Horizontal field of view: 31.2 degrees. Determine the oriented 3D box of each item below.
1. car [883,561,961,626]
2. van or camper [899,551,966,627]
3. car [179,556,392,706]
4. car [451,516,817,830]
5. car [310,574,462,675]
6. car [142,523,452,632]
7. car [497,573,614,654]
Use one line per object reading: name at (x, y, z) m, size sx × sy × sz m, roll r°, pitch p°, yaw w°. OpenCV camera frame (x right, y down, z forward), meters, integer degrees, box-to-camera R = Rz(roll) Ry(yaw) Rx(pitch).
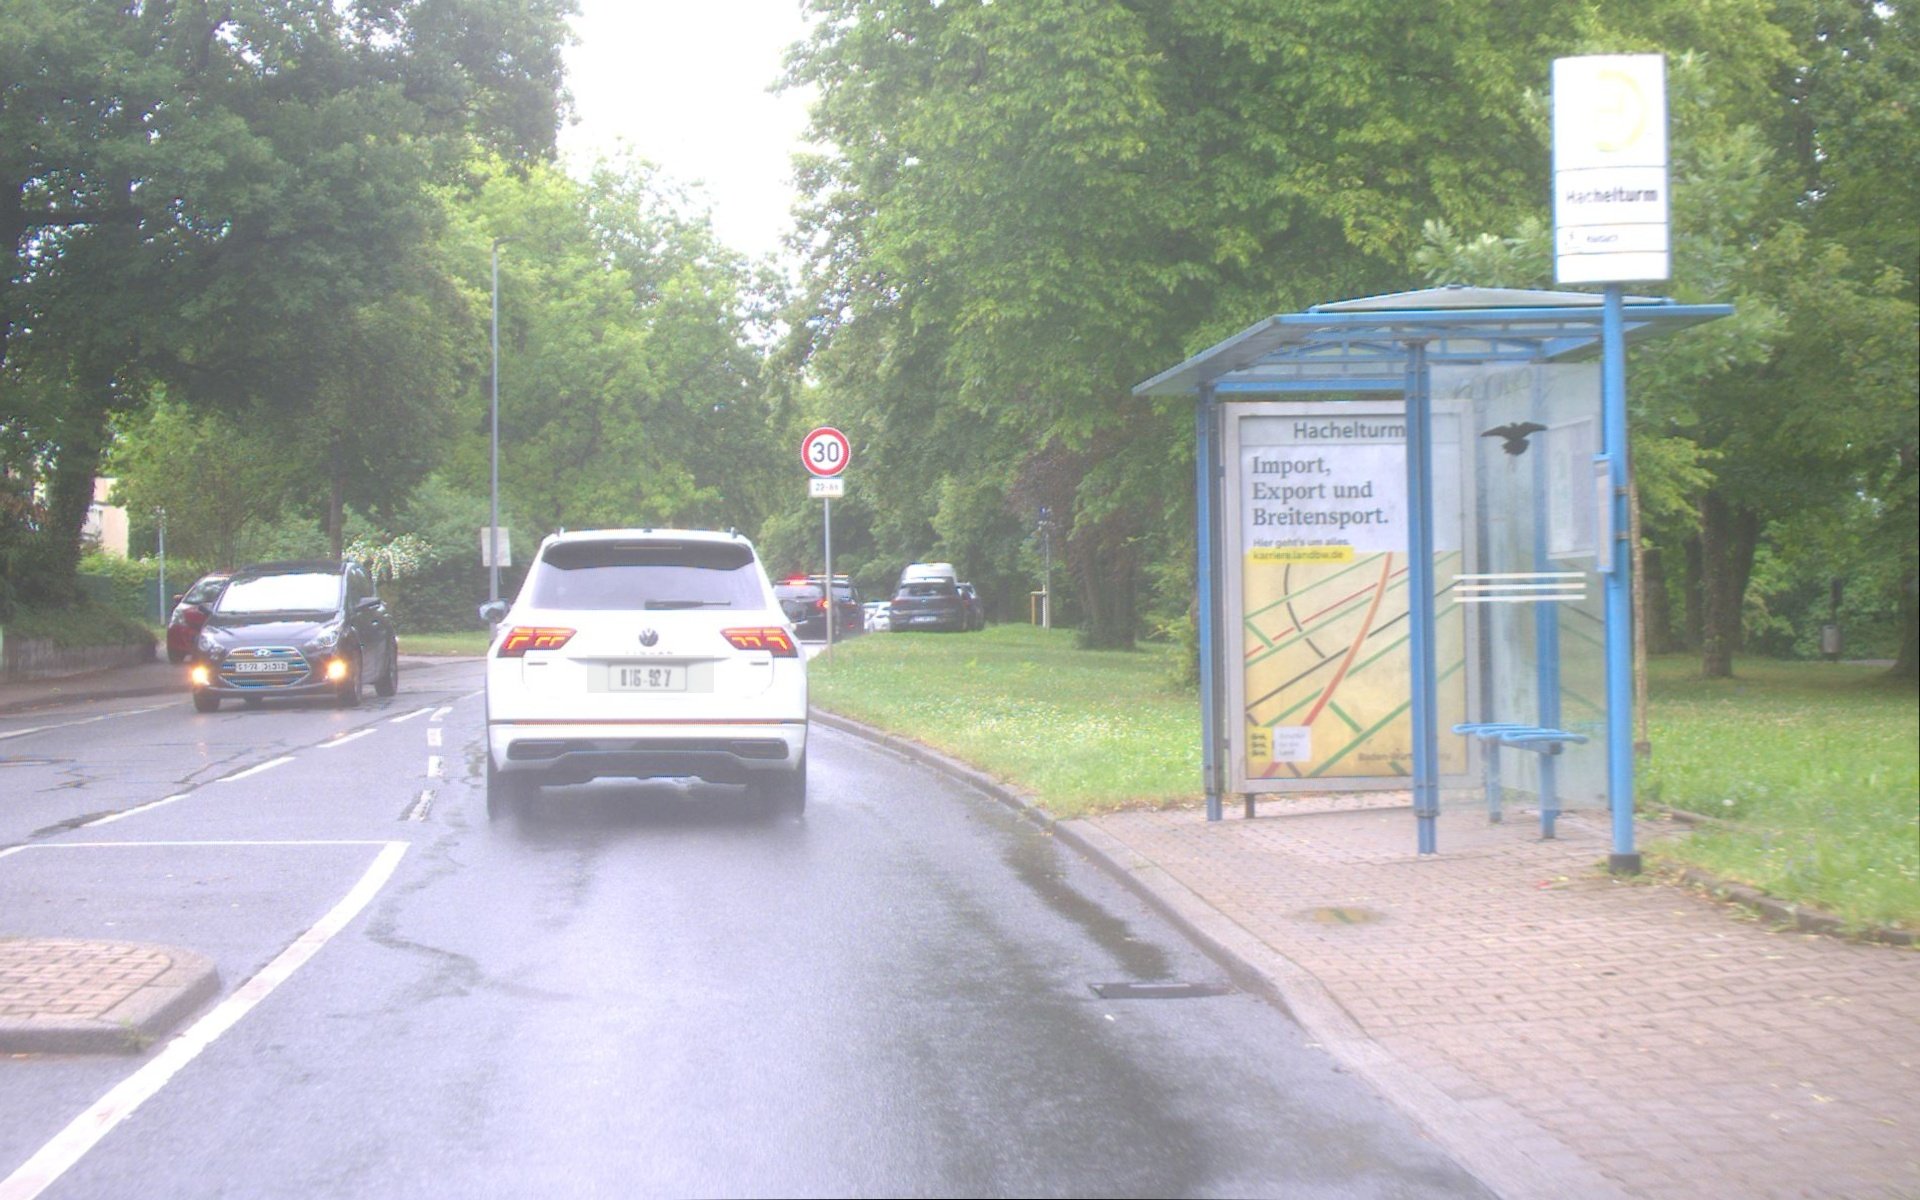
car at (-0.882, -0.132, 82.452) m, size 1.700 × 1.457 × 4.217 m, roll -2°, pitch 0°, yaw 1°
van or camper at (-0.930, -0.353, 122.130) m, size 2.016 × 2.574 × 8.435 m, roll 1°, pitch 0°, yaw 2°
car at (-7.458, 0.301, 38.351) m, size 1.993 × 1.571 × 4.001 m, roll 0°, pitch 1°, yaw -6°
car at (-1.857, 0.382, 20.773) m, size 1.905 × 1.679 × 4.201 m, roll -1°, pitch 0°, yaw -2°
car at (-9.948, 0.395, 59.887) m, size 1.993 × 1.511 × 4.001 m, roll 1°, pitch 3°, yaw 0°
car at (-13.320, -0.450, 69.538) m, size 5.742 × 2.031 × 3.480 m, roll 1°, pitch 0°, yaw -4°
car at (-7.683, 0.230, 65.667) m, size 1.790 × 1.418 × 4.359 m, roll -3°, pitch 1°, yaw -2°
